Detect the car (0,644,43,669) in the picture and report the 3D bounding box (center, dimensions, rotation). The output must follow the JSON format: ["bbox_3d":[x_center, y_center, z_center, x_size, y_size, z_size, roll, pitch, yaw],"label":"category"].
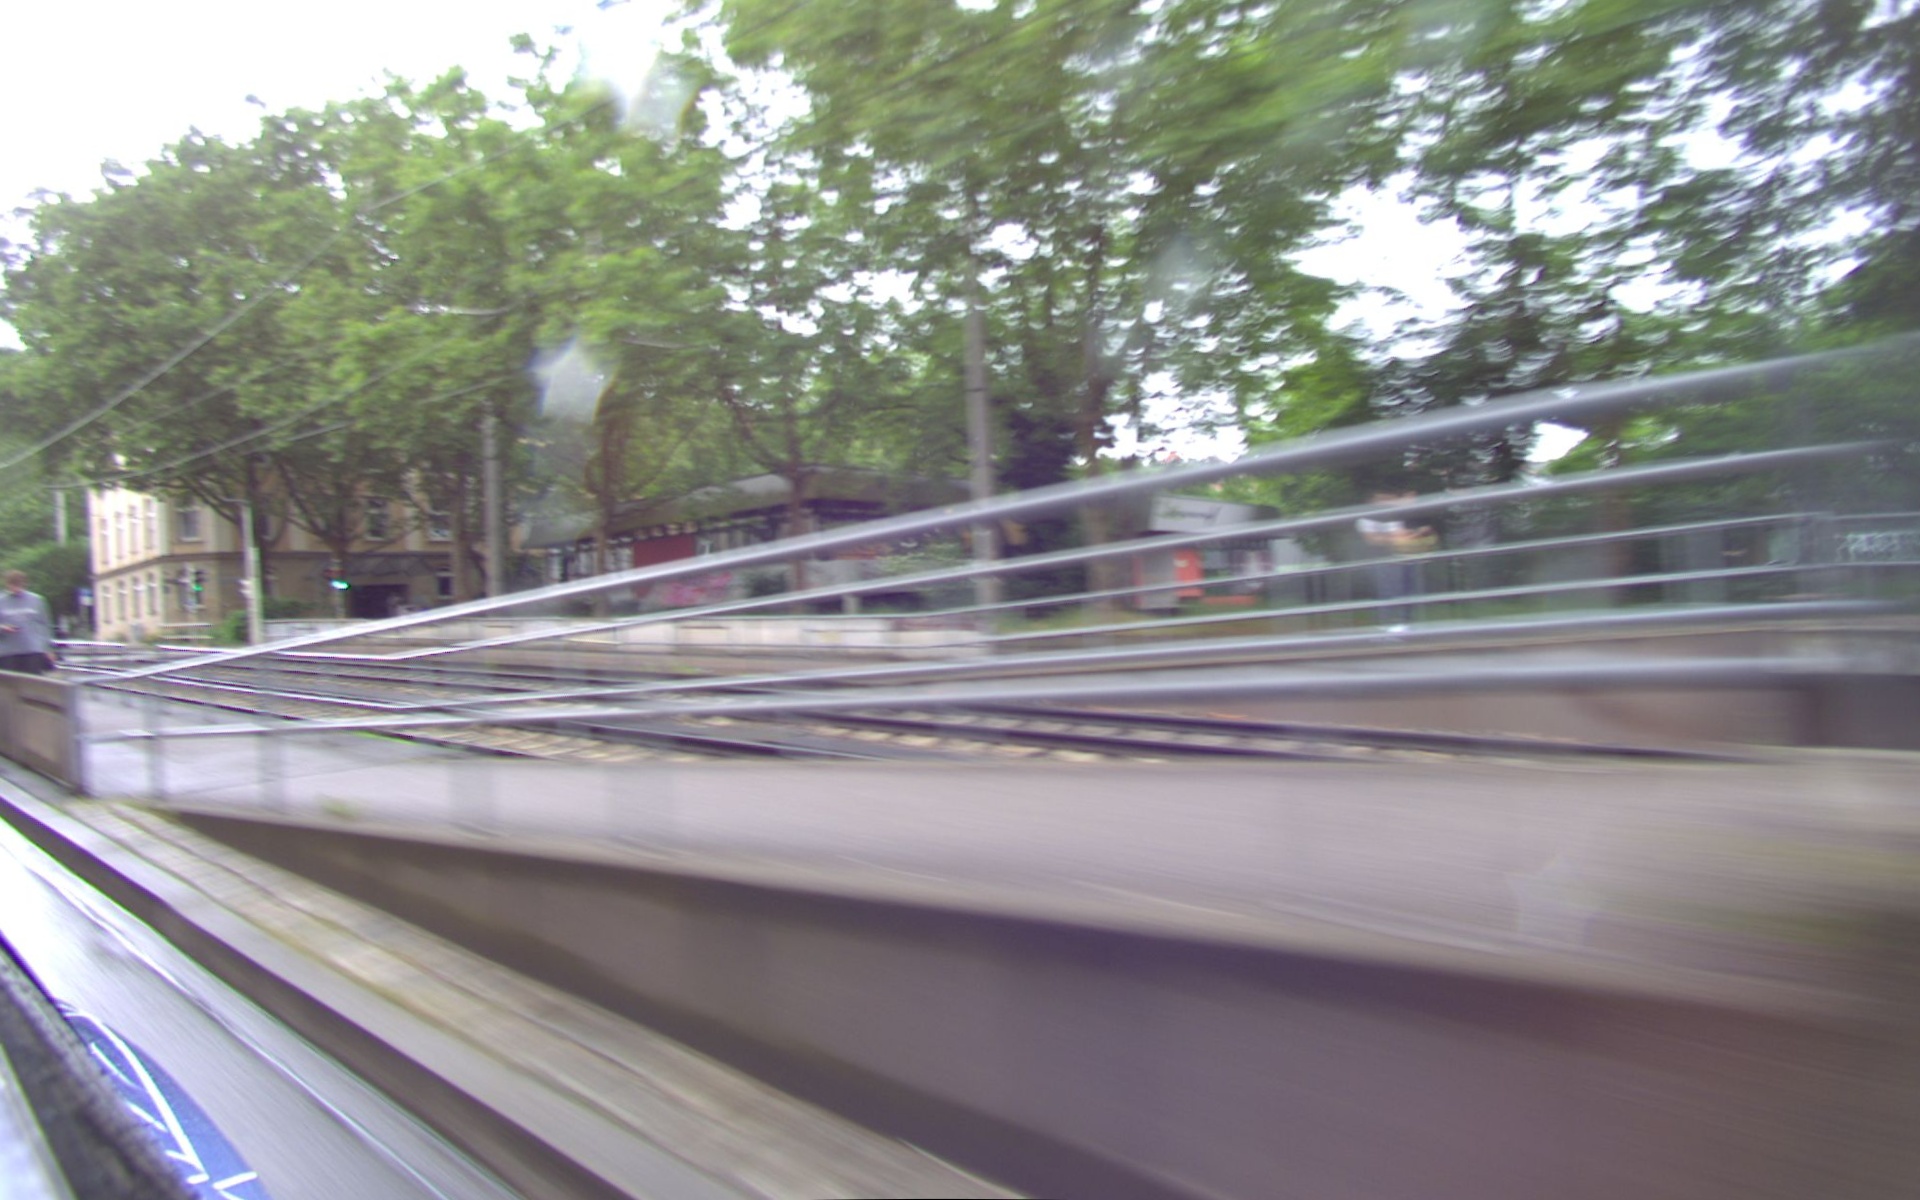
[{"bbox_3d":[-58.258,3.478,62.654,3.511,1.411,1.626,-3,-1,38],"label":"car"}]

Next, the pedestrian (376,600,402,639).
[{"bbox_3d":[-27.447,0.916,48.646,0.849,1.812,0.872,-3,1,-44],"label":"pedestrian"}]

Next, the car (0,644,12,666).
[{"bbox_3d":[-65.977,3.788,68.958,3.276,1.411,1.466,-3,-1,37],"label":"car"}]

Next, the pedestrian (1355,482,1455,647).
[{"bbox_3d":[4.792,-0.371,10.899,0.687,1.675,0.651,-7,-2,39],"label":"pedestrian"}]

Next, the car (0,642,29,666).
[{"bbox_3d":[-61.908,3.513,65.652,3.511,1.411,1.626,-3,-1,38],"label":"car"}]

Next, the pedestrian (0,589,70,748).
[{"bbox_3d":[-11.262,0.804,12.020,0.786,1.812,0.851,-2,0,38],"label":"pedestrian"}]

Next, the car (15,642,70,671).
[{"bbox_3d":[-54.434,3.318,60.011,3.803,1.488,1.868,-2,1,40],"label":"car"}]
